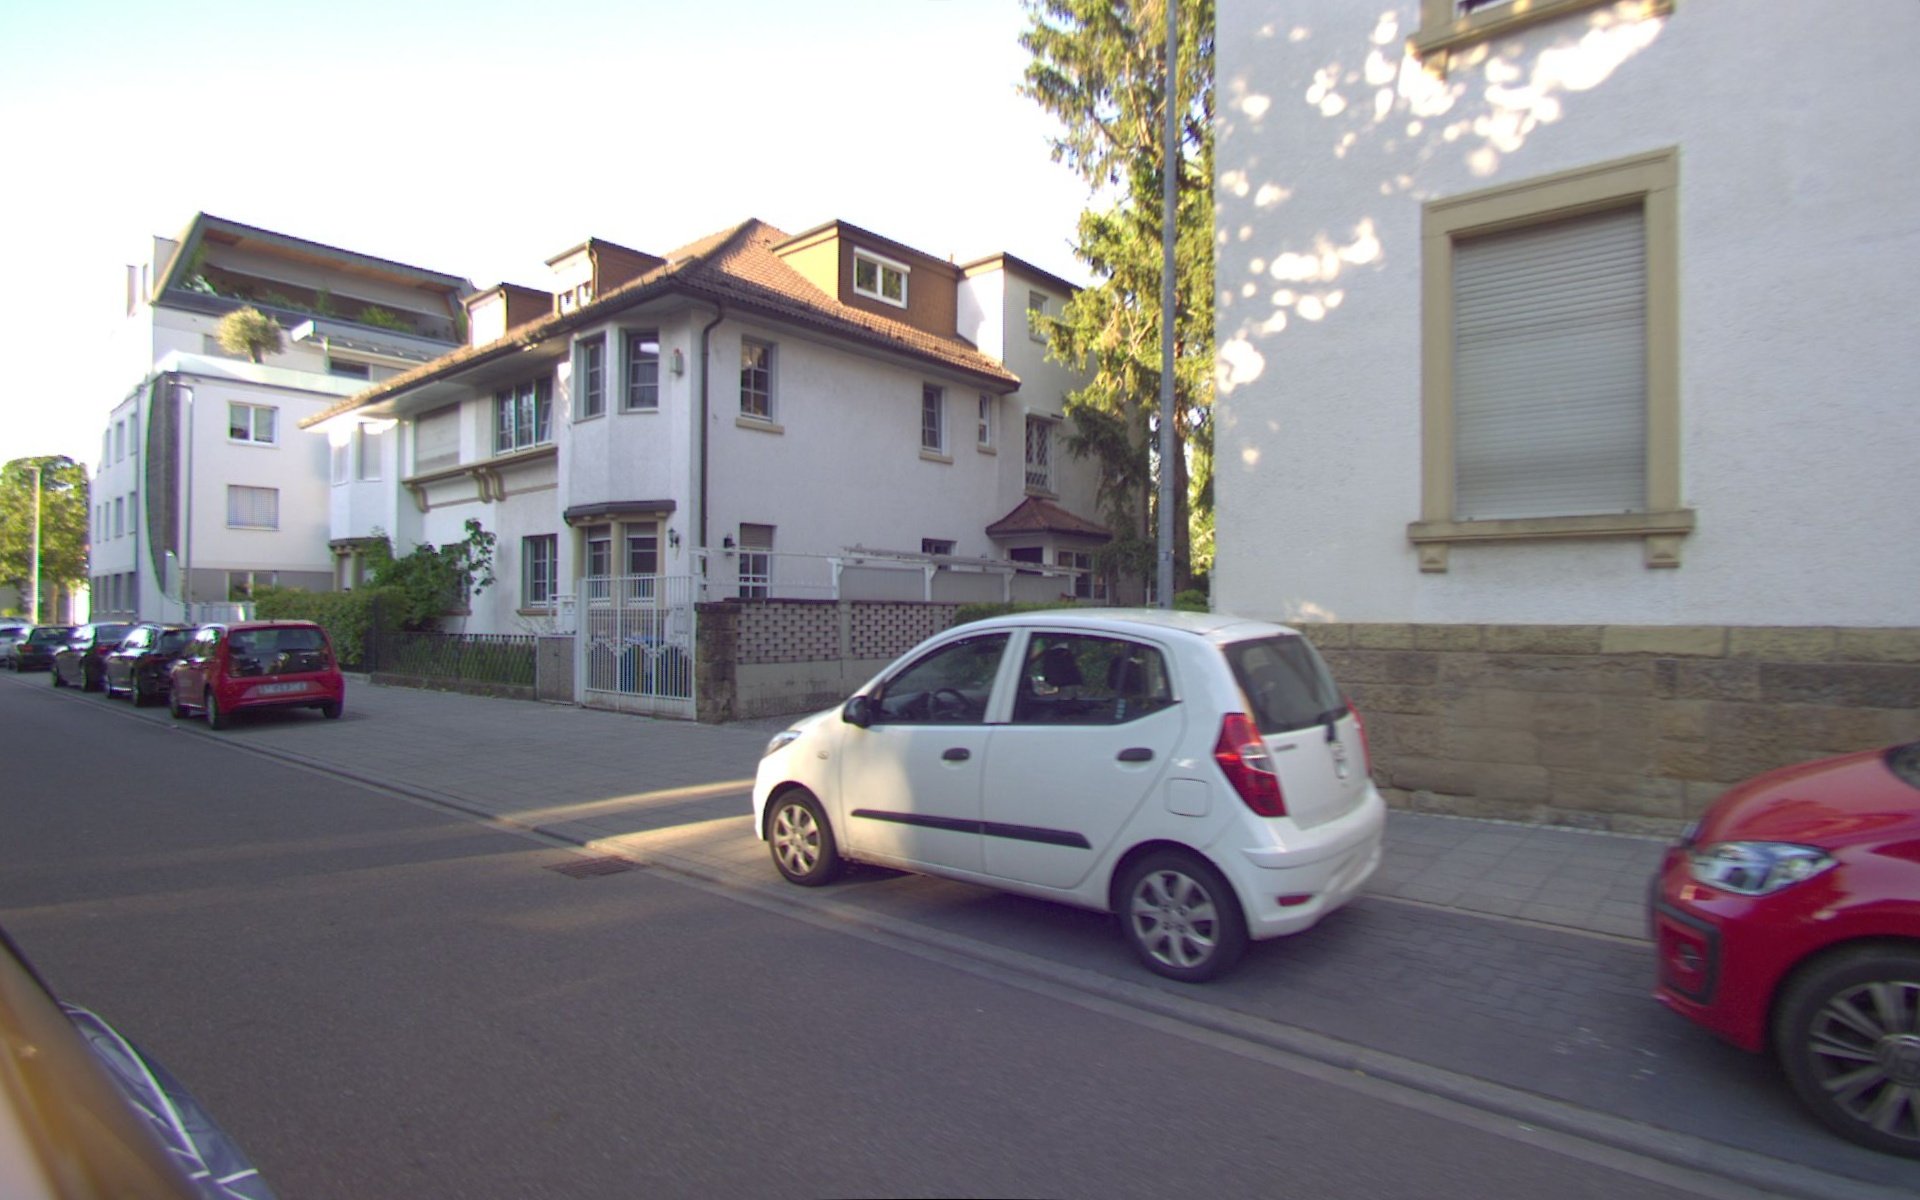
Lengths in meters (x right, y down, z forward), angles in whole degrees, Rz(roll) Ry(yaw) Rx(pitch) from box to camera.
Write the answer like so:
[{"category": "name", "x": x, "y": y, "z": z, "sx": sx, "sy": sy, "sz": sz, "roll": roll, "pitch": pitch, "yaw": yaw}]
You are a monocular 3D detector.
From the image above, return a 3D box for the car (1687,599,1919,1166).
[{"category": "car", "x": 4.090, "y": 0.723, "z": 2.481, "sx": 3.700, "sy": 1.488, "sz": 1.567, "roll": -1, "pitch": -1, "yaw": 37}]

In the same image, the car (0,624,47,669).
[{"category": "car", "x": -31.985, "y": 1.546, "z": 33.894, "sx": 3.907, "sy": 1.405, "sz": 1.700, "roll": -2, "pitch": -1, "yaw": 42}]

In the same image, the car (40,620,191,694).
[{"category": "car", "x": -19.020, "y": 1.220, "z": 22.730, "sx": 4.559, "sy": 1.470, "sz": 1.721, "roll": -1, "pitch": 0, "yaw": 39}]

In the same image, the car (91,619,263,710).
[{"category": "car", "x": -14.692, "y": 1.125, "z": 18.905, "sx": 4.376, "sy": 1.470, "sz": 1.720, "roll": -1, "pitch": 0, "yaw": 41}]

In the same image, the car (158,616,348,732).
[{"category": "car", "x": -10.701, "y": 1.027, "z": 15.237, "sx": 3.428, "sy": 1.494, "sz": 1.633, "roll": -1, "pitch": 0, "yaw": 43}]

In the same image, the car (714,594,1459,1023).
[{"category": "car", "x": 0.463, "y": 0.778, "z": 5.427, "sx": 3.703, "sy": 1.532, "sz": 1.565, "roll": -1, "pitch": -1, "yaw": 40}]

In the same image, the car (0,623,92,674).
[{"category": "car", "x": -27.626, "y": 1.429, "z": 30.547, "sx": 3.907, "sy": 1.405, "sz": 1.700, "roll": -2, "pitch": 0, "yaw": 42}]

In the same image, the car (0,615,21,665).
[{"category": "car", "x": -39.351, "y": 1.615, "z": 40.723, "sx": 4.197, "sy": 1.963, "sz": 1.888, "roll": -1, "pitch": 0, "yaw": 42}]

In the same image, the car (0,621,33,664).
[{"category": "car", "x": -35.691, "y": 1.569, "z": 37.448, "sx": 3.907, "sy": 1.509, "sz": 1.700, "roll": -2, "pitch": -1, "yaw": 42}]
